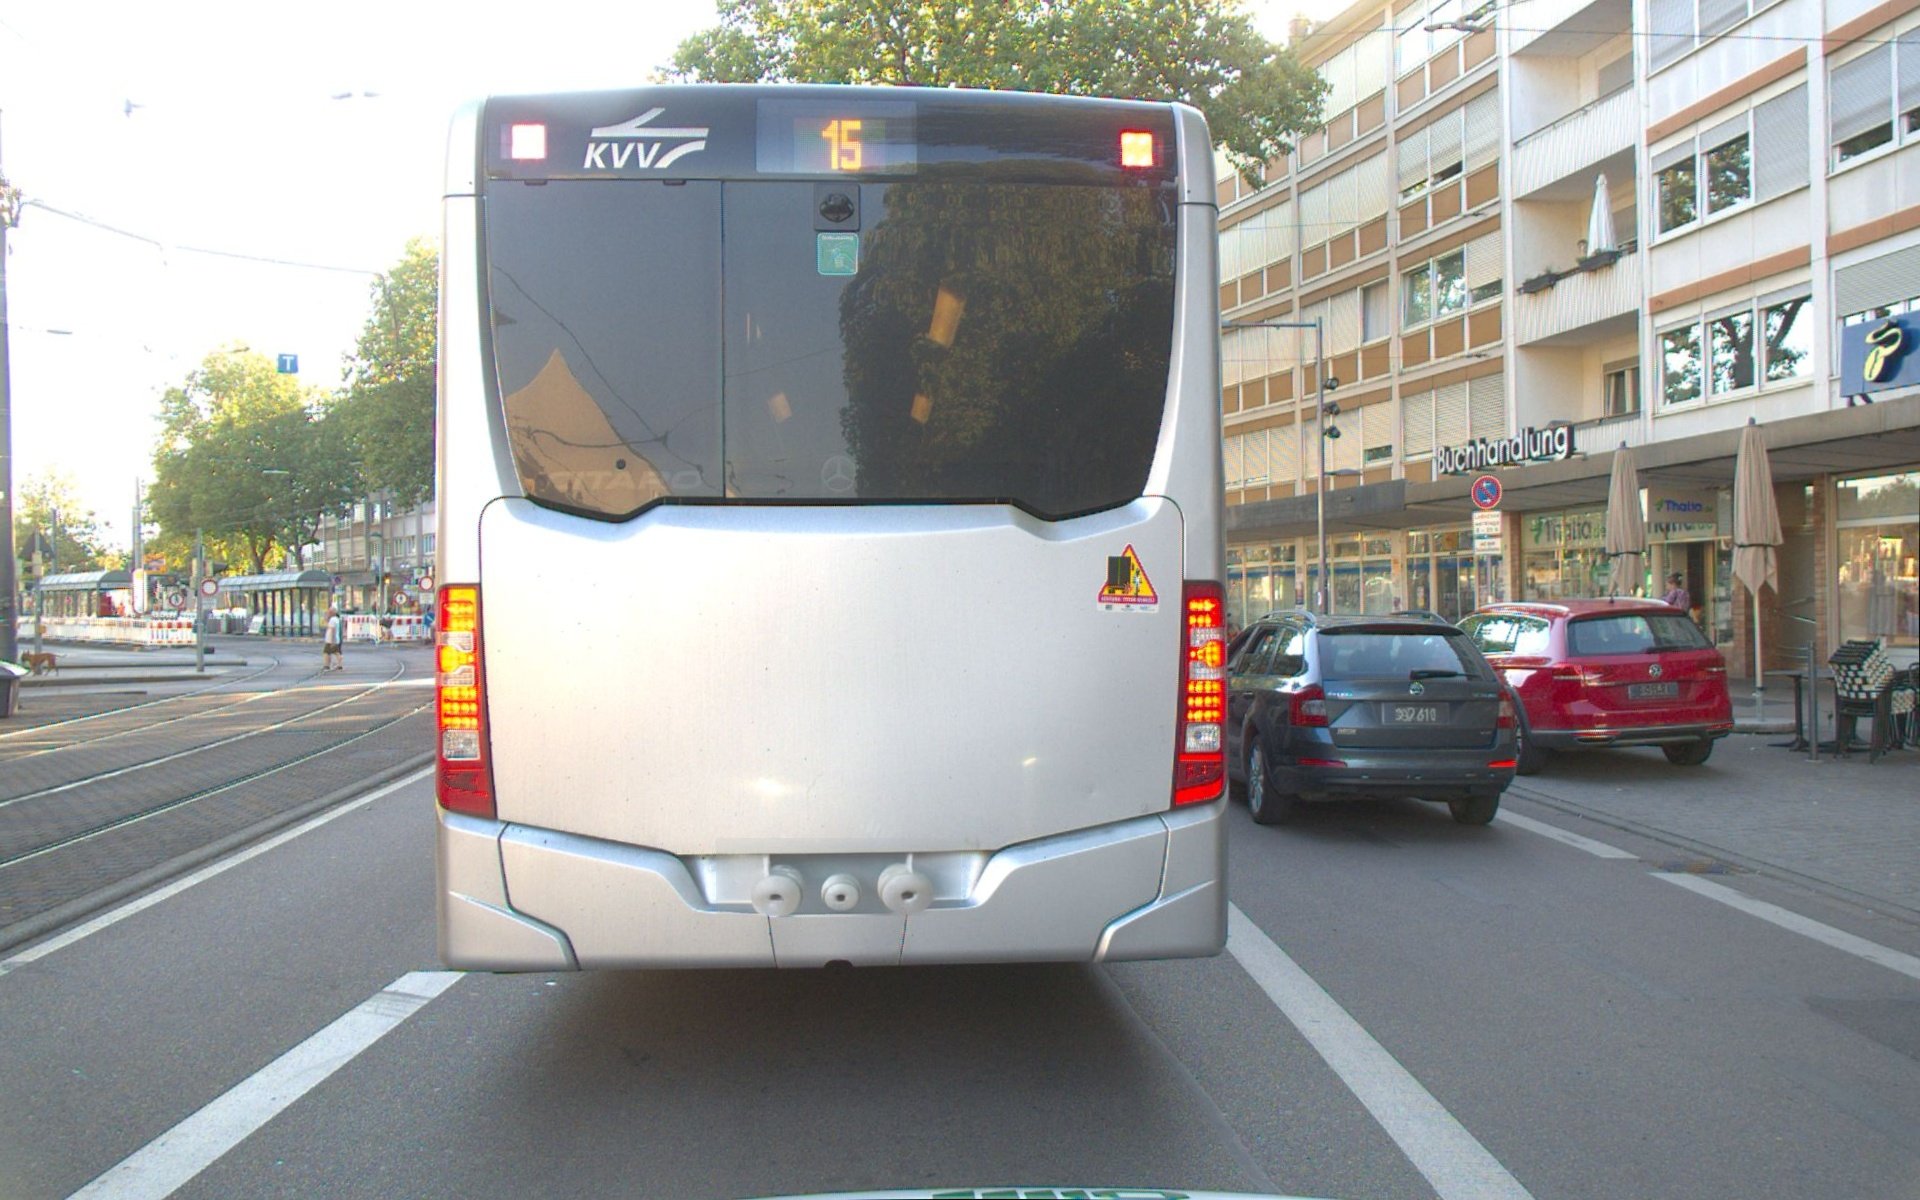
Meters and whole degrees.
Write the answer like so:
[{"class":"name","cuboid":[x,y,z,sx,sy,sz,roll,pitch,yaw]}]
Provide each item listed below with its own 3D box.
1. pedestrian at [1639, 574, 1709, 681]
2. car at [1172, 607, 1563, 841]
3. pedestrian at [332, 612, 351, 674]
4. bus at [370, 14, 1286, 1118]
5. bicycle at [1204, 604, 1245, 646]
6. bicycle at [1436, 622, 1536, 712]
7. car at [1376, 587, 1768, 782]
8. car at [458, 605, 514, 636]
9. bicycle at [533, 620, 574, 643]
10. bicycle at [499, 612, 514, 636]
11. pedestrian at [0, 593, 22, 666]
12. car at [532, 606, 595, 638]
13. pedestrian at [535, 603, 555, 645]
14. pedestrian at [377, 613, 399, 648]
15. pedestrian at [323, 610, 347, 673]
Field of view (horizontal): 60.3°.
[{"class":"pedestrian","cuboid":[10.697,0.406,24.796,0.627,1.579,0.806,-1,0,-8]},{"class":"car","cuboid":[2.901,0.805,12.708,1.768,1.499,4.068,0,0,-4]},{"class":"pedestrian","cuboid":[-15.467,1.064,41.333,0.403,1.530,0.513,-1,0,-24]},{"class":"bus","cuboid":[-0.594,-0.087,9.896,2.605,3.153,10.210,-1,0,-3]},{"class":"bicycle","cuboid":[7.269,0.690,45.543,0.431,1.111,1.453,-3,1,-20]},{"class":"bicycle","cuboid":[6.879,0.853,21.714,0.502,1.089,1.657,-3,0,-10]},{"class":"car","cuboid":[5.682,0.702,16.050,1.744,1.522,4.563,-3,0,-5]},{"class":"car","cuboid":[-25.118,1.097,87.629,1.651,1.494,3.365,-5,3,-38]},{"class":"bicycle","cuboid":[-17.182,1.343,69.903,1.803,0.959,0.463,-1,0,24]},{"class":"bicycle","cuboid":[-23.175,1.214,84.558,0.500,1.232,2.079,-1,0,-21]},{"class":"pedestrian","cuboid":[-22.849,0.692,39.442,0.422,1.740,0.675,1,-1,31]},{"class":"car","cuboid":[-19.343,1.073,80.659,1.652,1.419,3.364,-5,3,-39]},{"class":"pedestrian","cuboid":[-17.404,0.990,69.312,0.705,1.755,0.399,-1,0,24]},{"class":"pedestrian","cuboid":[-22.081,1.187,63.882,0.766,1.326,0.590,-1,0,-22]},{"class":"pedestrian","cuboid":[-15.356,1.019,40.646,0.513,1.530,0.589,-1,0,-24]}]
